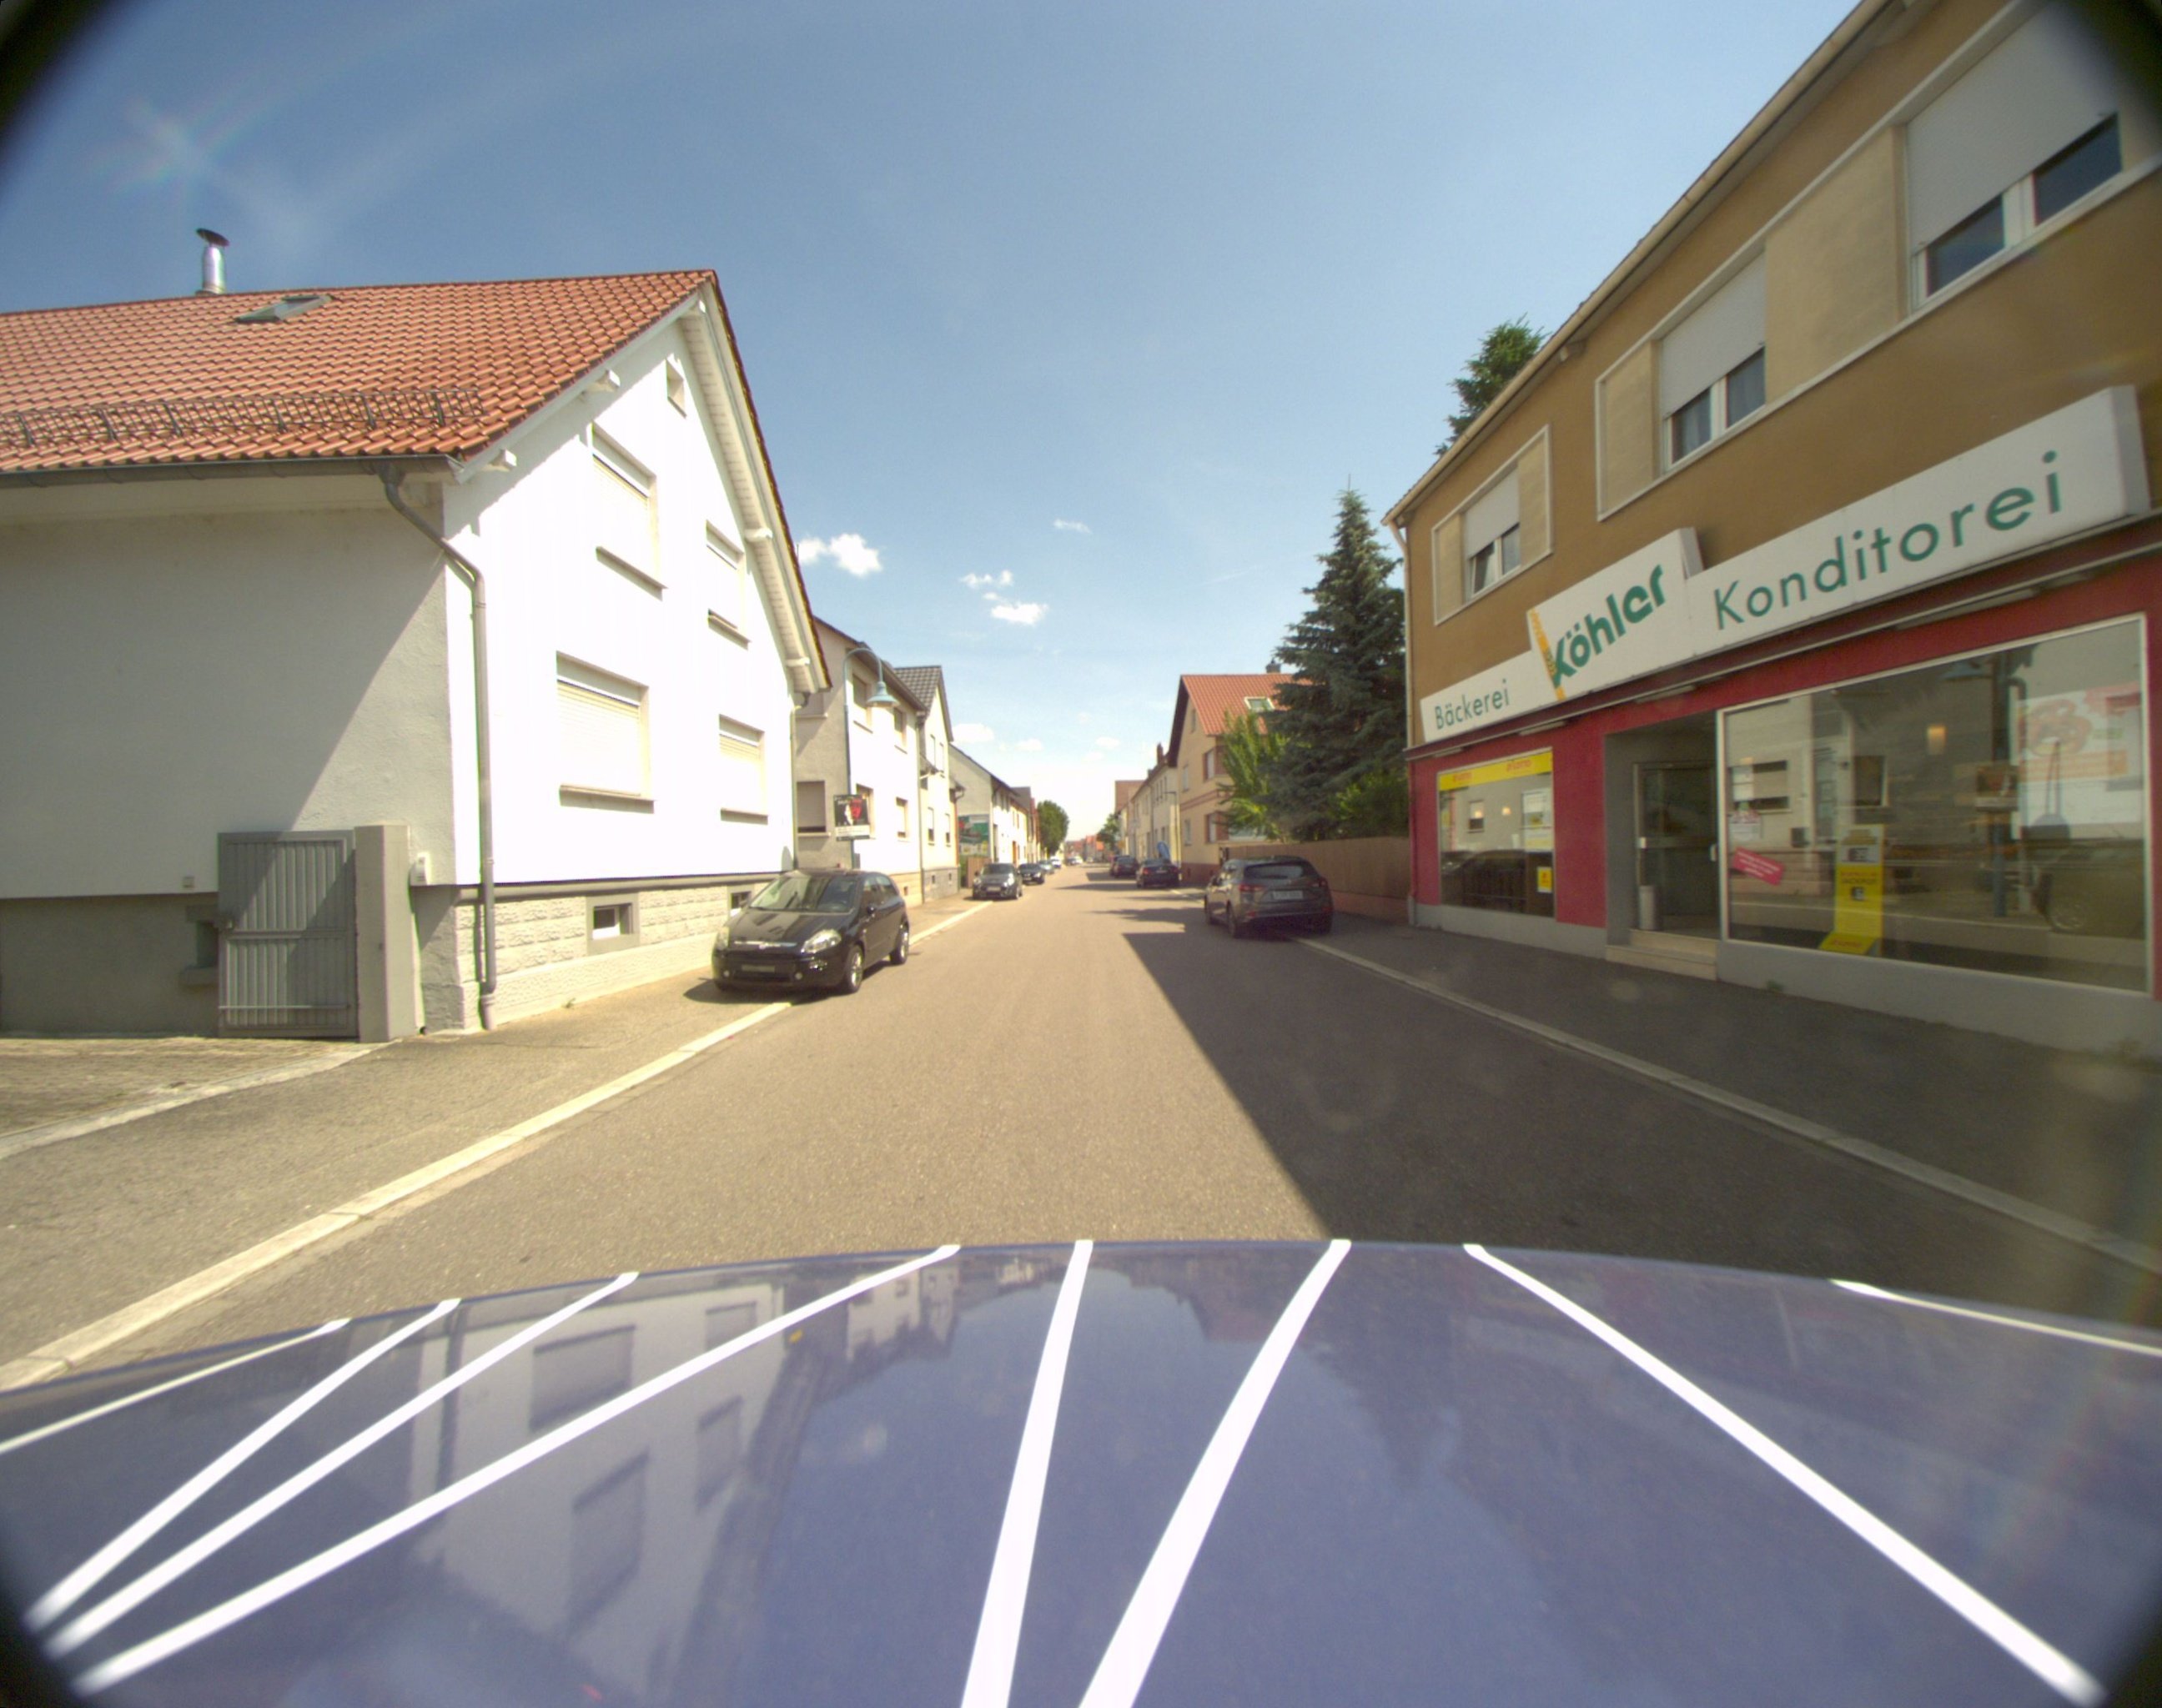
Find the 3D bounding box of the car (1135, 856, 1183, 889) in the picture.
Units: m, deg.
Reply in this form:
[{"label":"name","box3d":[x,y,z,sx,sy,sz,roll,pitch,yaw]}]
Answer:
[{"label":"car","box3d":[3.630,0.842,36.048,1.766,1.366,4.066,-3,0,0]}]

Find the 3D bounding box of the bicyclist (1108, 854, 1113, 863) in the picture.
[{"label":"bicyclist","box3d":[5.191,0.800,132.979,0.748,1.627,0.956,-3,0,3]}]

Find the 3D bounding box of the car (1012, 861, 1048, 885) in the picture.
[{"label":"car","box3d":[-3.062,1.119,46.538,1.820,1.268,4.146,-2,0,1]}]

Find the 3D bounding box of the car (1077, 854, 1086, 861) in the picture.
[{"label":"car","box3d":[0.182,0.777,179.361,1.848,1.385,4.169,-2,-2,-2]}]

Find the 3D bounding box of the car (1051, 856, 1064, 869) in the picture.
[{"label":"car","box3d":[-3.372,1.262,111.744,1.692,1.831,4.764,1,0,0]}]

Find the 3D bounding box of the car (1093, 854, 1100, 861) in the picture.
[{"label":"car","box3d":[3.873,0.912,190.437,1.726,1.385,4.170,-2,-2,2]}]

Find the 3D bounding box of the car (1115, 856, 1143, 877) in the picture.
[{"label":"car","box3d":[3.368,0.851,53.947,1.702,1.403,4.389,-2,0,0]}]

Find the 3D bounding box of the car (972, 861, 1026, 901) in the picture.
[{"label":"car","box3d":[-3.160,1.014,29.970,1.692,1.414,3.656,-2,0,0]}]

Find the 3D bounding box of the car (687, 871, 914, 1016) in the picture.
[{"label":"car","box3d":[-3.526,1.034,10.353,1.621,1.487,3.971,1,0,0]}]

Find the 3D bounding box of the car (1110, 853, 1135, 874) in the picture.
[{"label":"car","box3d":[3.278,0.705,60.882,1.722,1.630,4.148,0,0,-1]}]

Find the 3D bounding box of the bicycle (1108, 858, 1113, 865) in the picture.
[{"label":"bicycle","box3d":[5.216,1.315,132.919,0.744,1.041,1.940,-3,0,3]}]

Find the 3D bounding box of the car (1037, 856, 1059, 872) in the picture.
[{"label":"car","box3d":[-3.258,1.001,75.038,1.725,1.473,3.750,1,0,4]}]

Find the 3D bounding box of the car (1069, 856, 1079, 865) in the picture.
[{"label":"car","box3d":[-1.333,1.281,144.963,1.598,1.533,4.201,-3,1,2]}]

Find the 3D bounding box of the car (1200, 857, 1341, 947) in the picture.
[{"label":"car","box3d":[3.571,0.824,15.144,1.772,1.451,4.436,-2,0,2]}]

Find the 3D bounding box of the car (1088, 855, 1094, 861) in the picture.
[{"label":"car","box3d":[2.760,1.136,205.617,1.598,1.385,4.168,-3,0,0]}]
